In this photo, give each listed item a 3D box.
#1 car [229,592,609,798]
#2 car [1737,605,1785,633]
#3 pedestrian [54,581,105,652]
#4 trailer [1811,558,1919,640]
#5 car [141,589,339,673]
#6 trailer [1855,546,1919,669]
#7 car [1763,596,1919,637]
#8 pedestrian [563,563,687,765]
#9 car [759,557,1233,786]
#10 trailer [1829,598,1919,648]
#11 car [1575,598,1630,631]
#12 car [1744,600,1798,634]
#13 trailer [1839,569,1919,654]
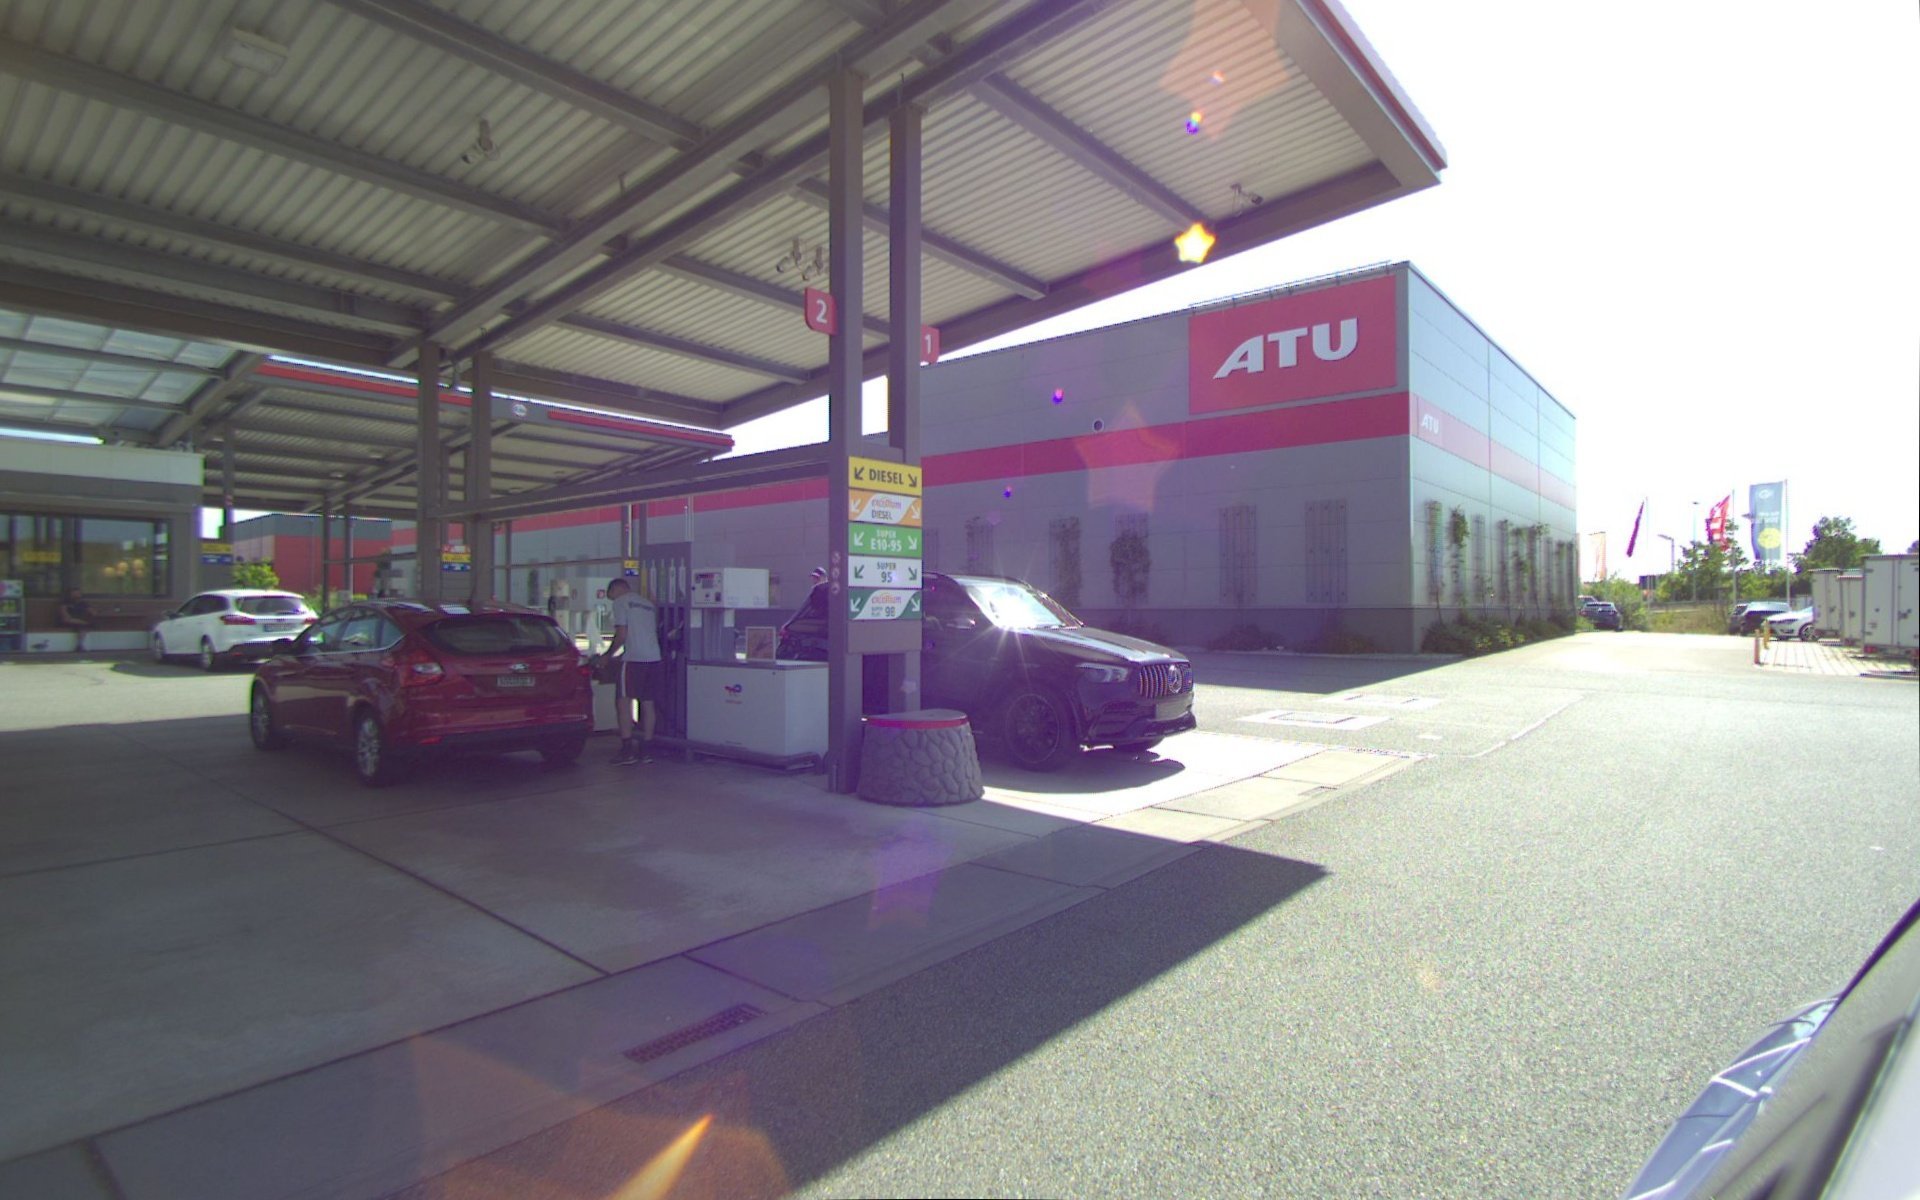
[{"bbox_3d":[-5.121,0.675,9.328,4.213,1.487,1.679,0,0,40],"label":"car"},{"bbox_3d":[39.607,0.919,49.986,1.675,1.319,3.669,0,0,42],"label":"car"},{"bbox_3d":[-18.420,0.331,21.169,0.669,1.450,0.693,0,-1,39],"label":"pedestrian"},{"bbox_3d":[29.155,-0.027,31.190,3.940,2.458,1.992,0,0,13],"label":"trailer"},{"bbox_3d":[-14.084,0.527,19.735,4.292,1.475,1.813,0,0,35],"label":"car"},{"bbox_3d":[21.175,0.152,20.661,3.927,2.458,1.998,0,0,3],"label":"trailer"},{"bbox_3d":[29.457,0.525,33.805,3.770,1.334,1.678,0,0,7],"label":"car"},{"bbox_3d":[-3.052,0.547,9.212,0.924,1.724,0.693,0,-1,41],"label":"pedestrian"},{"bbox_3d":[0.192,0.532,10.614,4.777,1.874,2.004,1,1,41],"label":"car"},{"bbox_3d":[25.834,0.599,26.999,3.667,1.297,1.570,0,0,16],"label":"trailer"},{"bbox_3d":[31.981,0.681,50.448,1.663,1.561,3.806,0,0,23],"label":"car"},{"bbox_3d":[33.320,0.657,41.617,1.673,1.334,3.782,0,0,38],"label":"car"},{"bbox_3d":[24.522,0.280,24.907,3.944,2.039,1.794,0,0,16],"label":"trailer"}]
